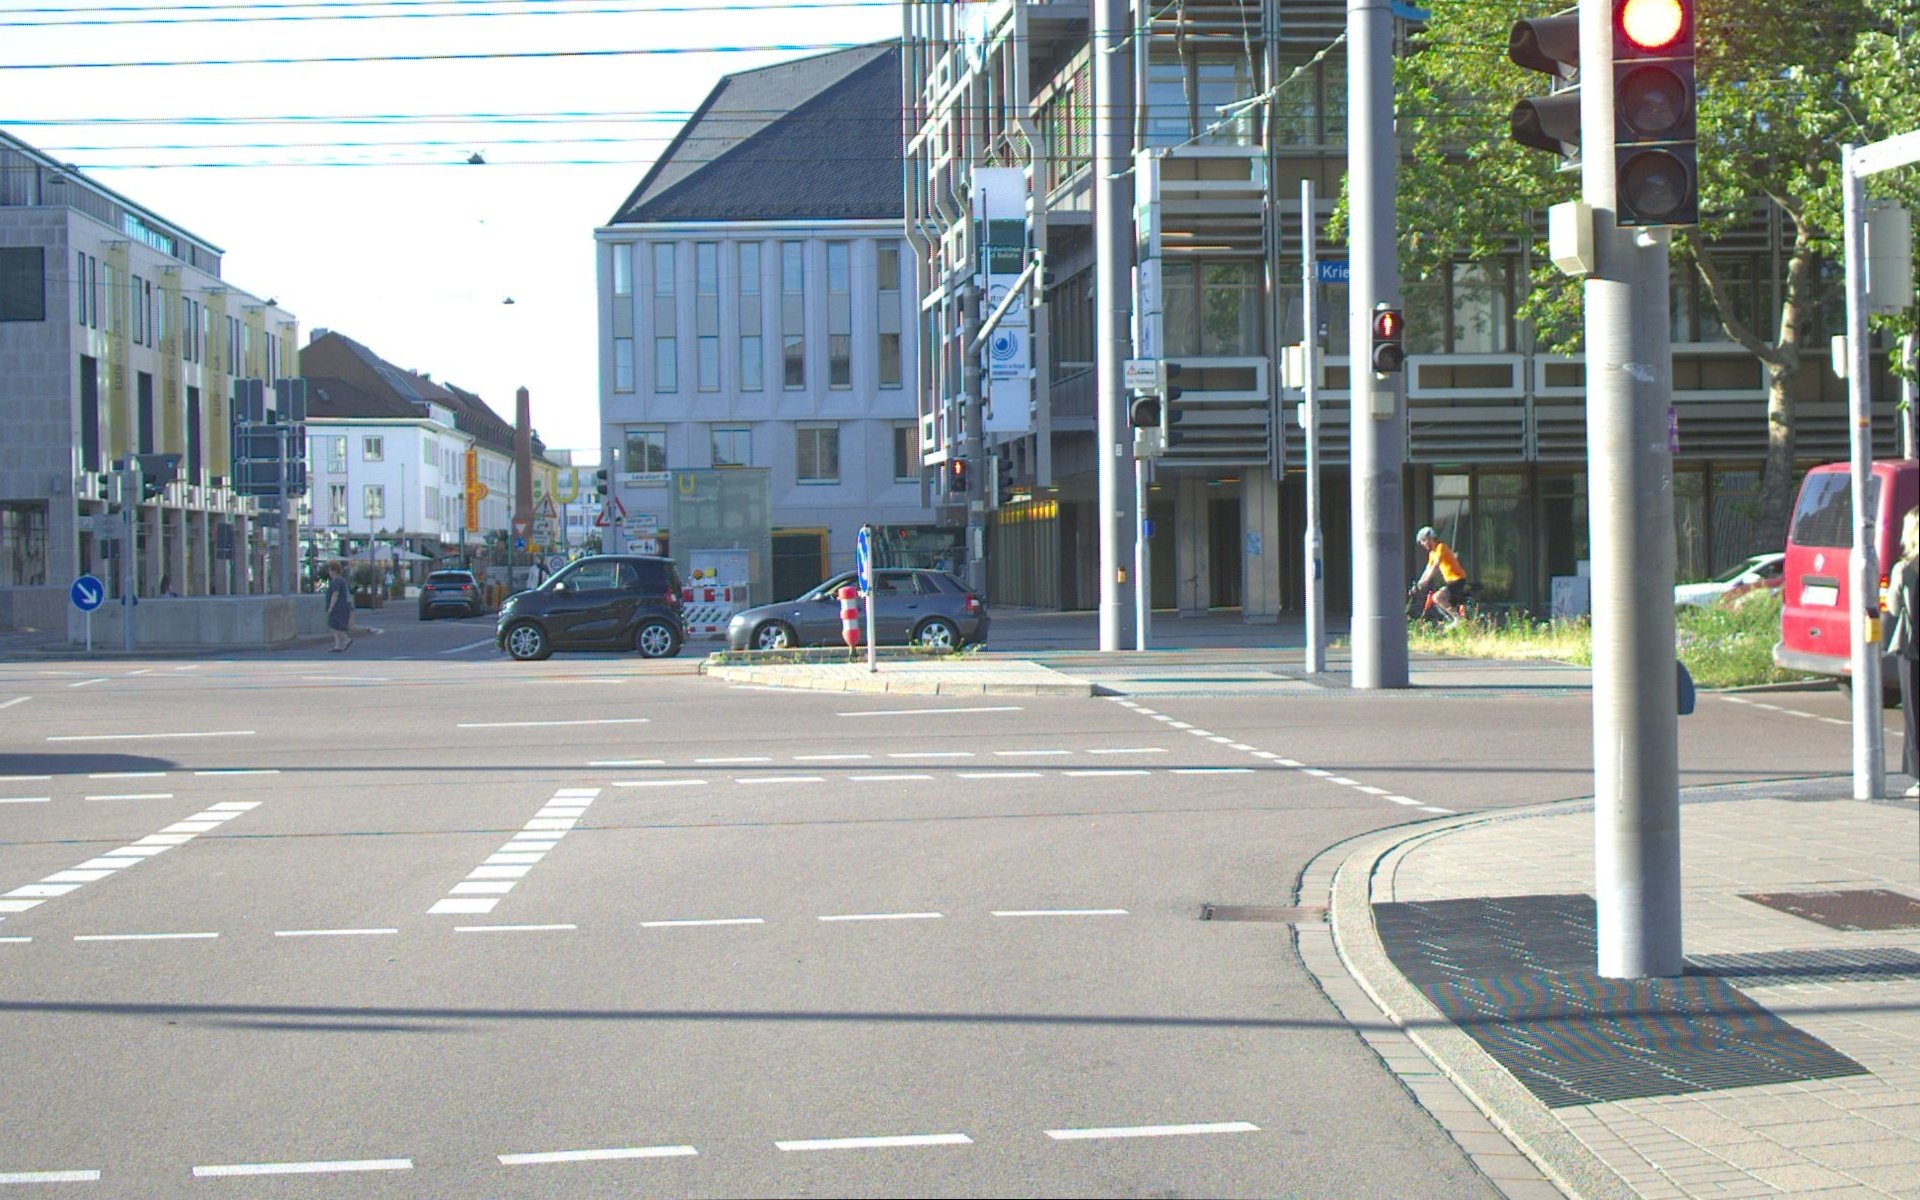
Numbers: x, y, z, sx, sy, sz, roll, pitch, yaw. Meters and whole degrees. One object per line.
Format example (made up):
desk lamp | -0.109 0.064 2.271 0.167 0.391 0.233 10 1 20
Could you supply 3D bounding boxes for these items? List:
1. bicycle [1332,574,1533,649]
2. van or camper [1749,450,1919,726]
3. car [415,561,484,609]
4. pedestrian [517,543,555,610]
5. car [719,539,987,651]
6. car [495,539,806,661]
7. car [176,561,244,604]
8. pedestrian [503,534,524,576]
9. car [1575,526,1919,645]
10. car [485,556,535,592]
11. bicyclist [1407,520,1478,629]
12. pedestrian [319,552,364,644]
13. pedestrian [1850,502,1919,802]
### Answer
bicycle | 6.461 0.154 47.118 2.568 0.972 1.047 -1 1 -3
van or camper | 8.778 -0.140 26.538 4.825 2.007 2.008 -1 1 -13
car | -16.017 -0.480 108.079 1.658 1.453 3.542 -1 1 -1
pedestrian | -11.381 -0.645 92.358 0.899 1.776 0.808 -1 1 -1
car | -1.640 -0.088 53.827 3.987 1.678 1.825 -1 1 5
car | -4.455 -0.015 49.867 4.403 1.678 1.826 -1 1 -3
car | -26.505 -0.629 121.601 1.658 1.453 3.542 -1 1 -1
pedestrian | -21.395 -2.156 164.686 0.910 1.958 0.823 1 0 -1
car | 11.816 -0.232 51.379 4.844 1.678 1.826 -1 1 -3
car | -19.065 -1.109 145.709 1.658 1.453 3.542 -1 1 -1
bicyclist | 6.614 -0.355 47.127 0.822 1.469 0.652 -1 1 -4
pedestrian | -11.437 -0.038 63.608 0.700 1.682 0.619 -1 1 0
pedestrian | 5.400 0.267 18.875 0.765 1.608 0.874 -1 1 -2
